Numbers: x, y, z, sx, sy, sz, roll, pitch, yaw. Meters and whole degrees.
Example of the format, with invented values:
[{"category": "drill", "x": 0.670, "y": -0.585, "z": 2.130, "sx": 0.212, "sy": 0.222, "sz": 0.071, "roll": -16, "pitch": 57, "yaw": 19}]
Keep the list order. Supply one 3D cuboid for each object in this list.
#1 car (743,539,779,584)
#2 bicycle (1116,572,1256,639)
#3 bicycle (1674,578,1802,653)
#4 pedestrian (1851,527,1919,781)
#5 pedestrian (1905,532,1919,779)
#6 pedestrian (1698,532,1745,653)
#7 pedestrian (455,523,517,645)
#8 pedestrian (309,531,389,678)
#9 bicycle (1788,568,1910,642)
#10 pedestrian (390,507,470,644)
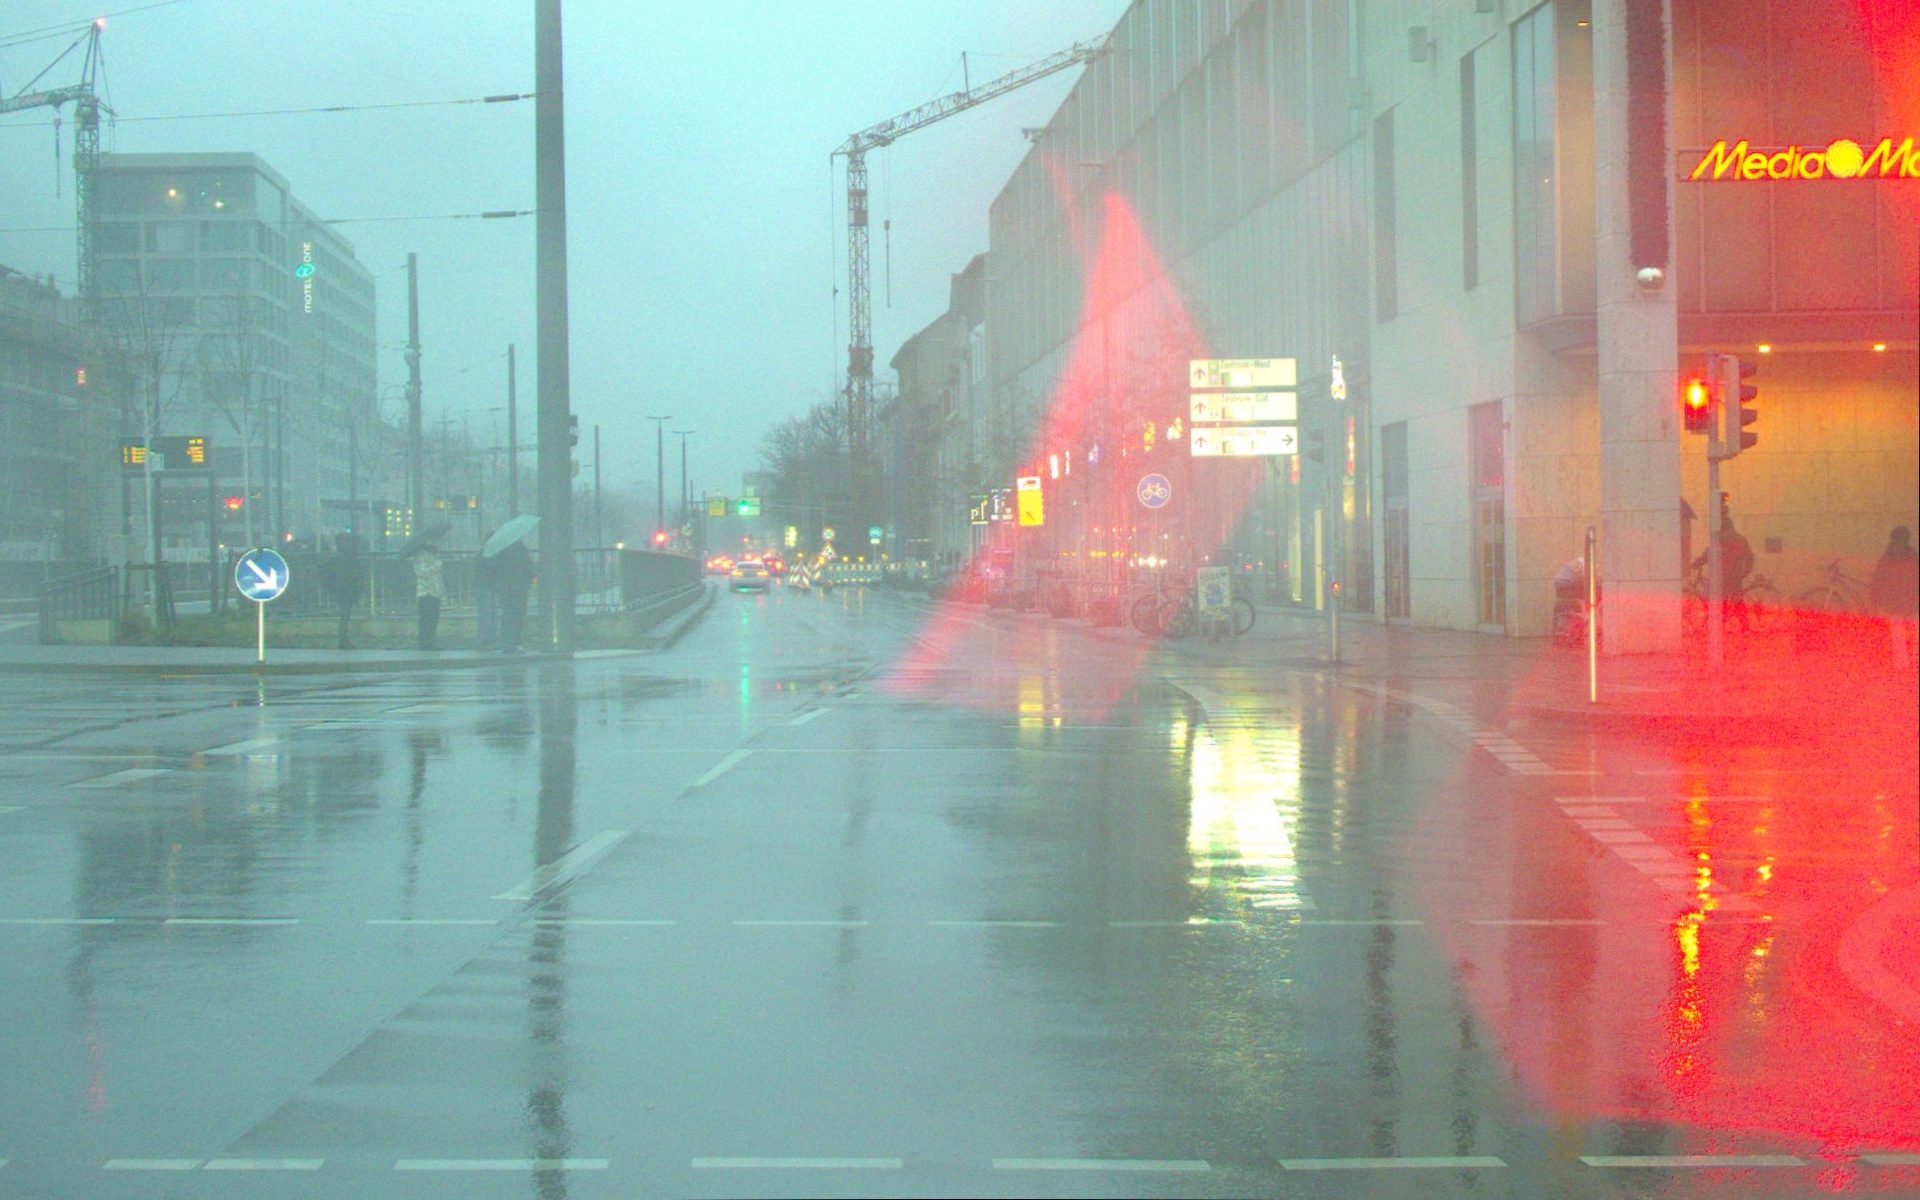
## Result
[{"category": "car", "x": -9.136, "y": -1.783, "z": 157.852, "sx": 1.577, "sy": 2.007, "sz": 3.172, "roll": -1, "pitch": 1, "yaw": -3}, {"category": "bicycle", "x": 4.041, "y": 0.091, "z": 61.642, "sx": 2.442, "sy": 1.150, "sz": 0.674, "roll": -1, "pitch": 0, "yaw": -1}, {"category": "bicycle", "x": 11.403, "y": 0.226, "z": 50.435, "sx": 1.768, "sy": 1.066, "sz": 0.524, "roll": 1, "pitch": 0, "yaw": 8}, {"category": "pedestrian", "x": 9.107, "y": 0.515, "z": 33.286, "sx": 0.714, "sy": 2.433, "sz": 0.758, "roll": 1, "pitch": 0, "yaw": -1}, {"category": "pedestrian", "x": 9.796, "y": 0.549, "z": 33.911, "sx": 0.689, "sy": 2.433, "sz": 0.758, "roll": 1, "pitch": 0, "yaw": -1}, {"category": "pedestrian", "x": 11.054, "y": -0.110, "z": 49.918, "sx": 0.600, "sy": 1.739, "sz": 0.524, "roll": 1, "pitch": 0, "yaw": 8}, {"category": "pedestrian", "x": -6.618, "y": -0.226, "z": 48.002, "sx": 0.612, "sy": 1.680, "sz": 0.577, "roll": 1, "pitch": 1, "yaw": 42}, {"category": "pedestrian", "x": -8.425, "y": 0.056, "z": 47.394, "sx": 0.785, "sy": 2.007, "sz": 0.726, "roll": 1, "pitch": 1, "yaw": 42}, {"category": "bicycle", "x": 13.143, "y": 0.067, "z": 50.825, "sx": 1.646, "sy": 1.066, "sz": 0.525, "roll": 1, "pitch": 0, "yaw": -4}, {"category": "pedestrian", "x": -7.159, "y": -0.330, "z": 46.438, "sx": 0.821, "sy": 1.825, "sz": 0.786, "roll": 1, "pitch": 0, "yaw": -31}]
